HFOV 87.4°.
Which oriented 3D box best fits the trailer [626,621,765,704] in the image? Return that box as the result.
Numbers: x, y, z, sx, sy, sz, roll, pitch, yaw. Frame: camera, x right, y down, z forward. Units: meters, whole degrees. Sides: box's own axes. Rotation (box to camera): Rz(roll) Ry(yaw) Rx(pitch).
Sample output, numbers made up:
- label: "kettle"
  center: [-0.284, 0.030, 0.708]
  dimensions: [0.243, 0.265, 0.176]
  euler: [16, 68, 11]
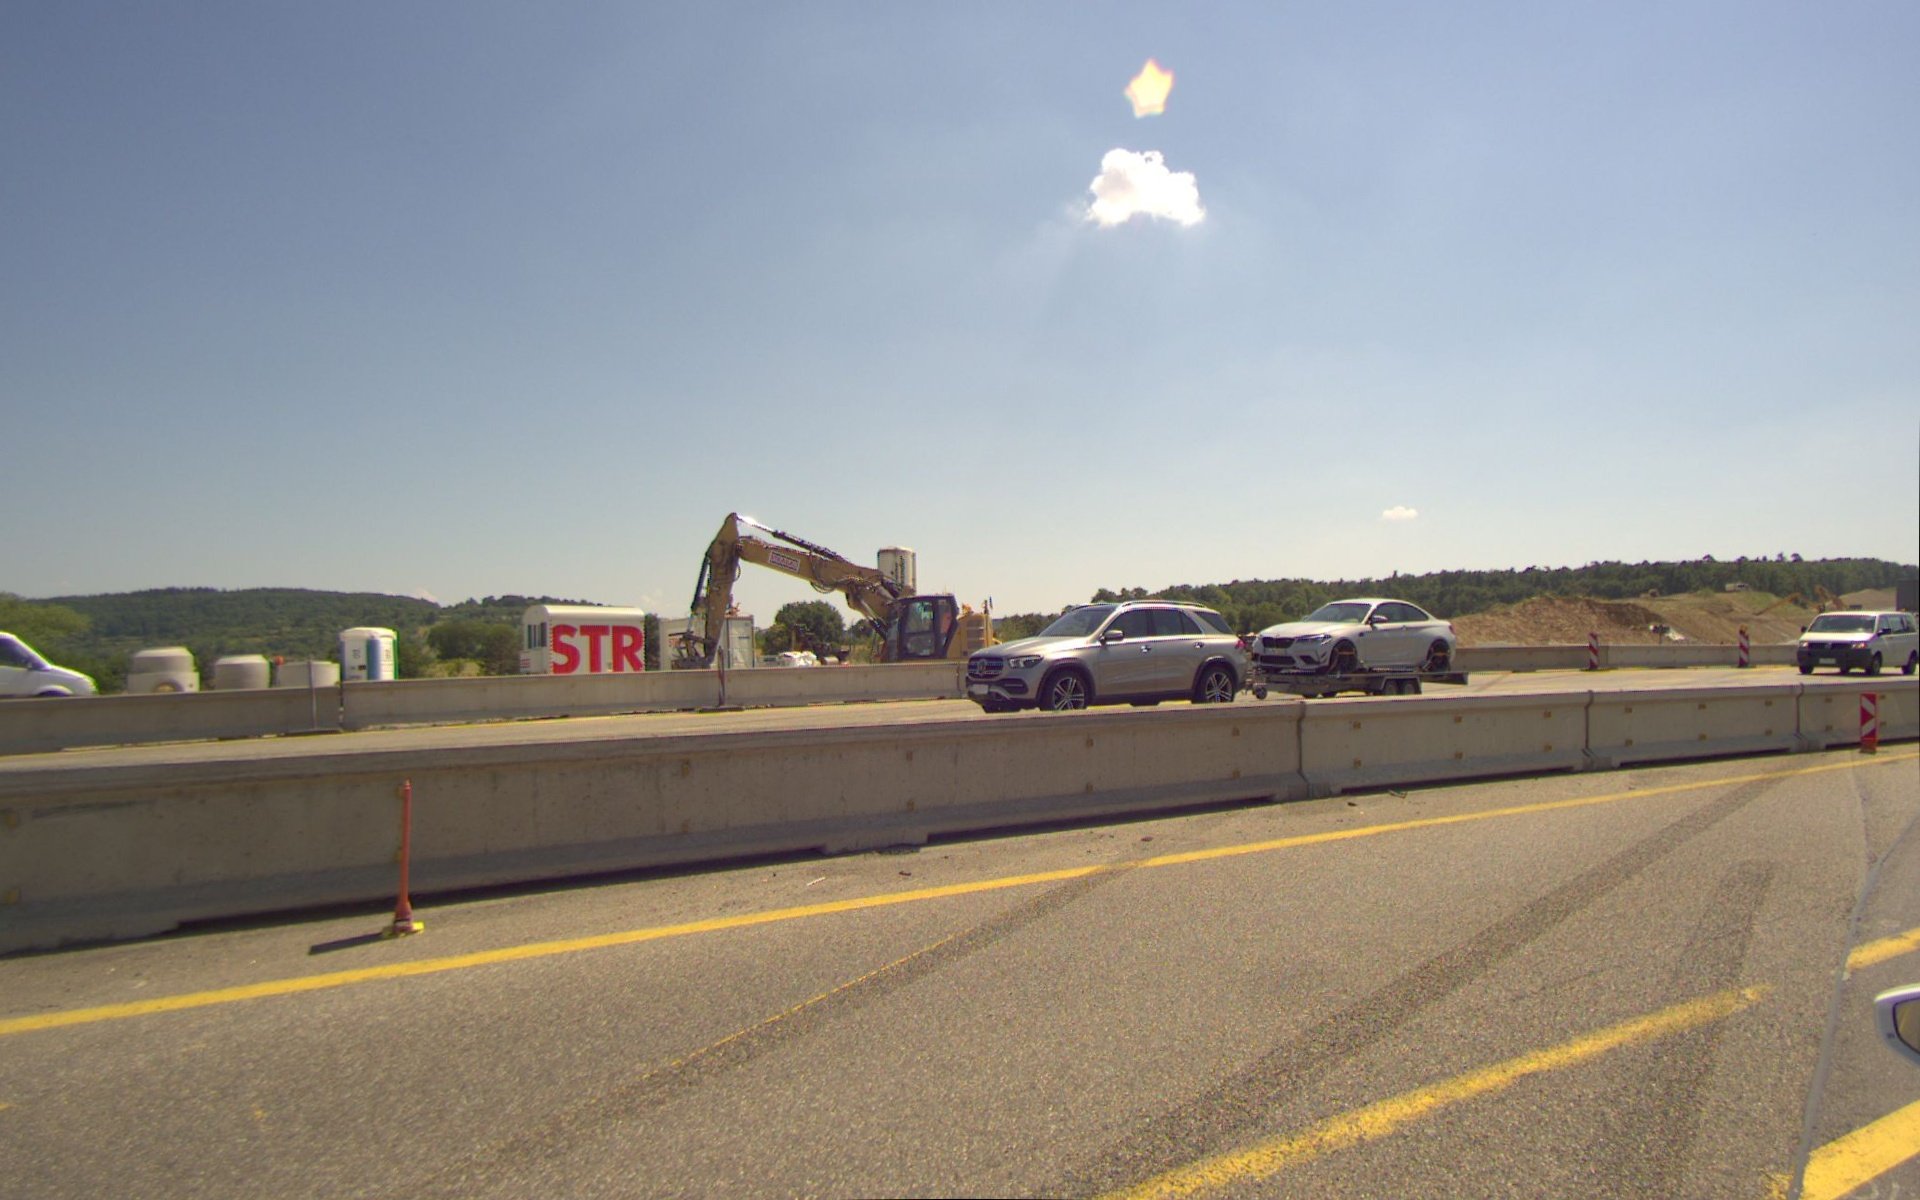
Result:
- label: "trailer"
  center: [-10.563, 2.386, 39.874]
  dimensions: [5.503, 3.036, 2.868]
  euler: [-2, -2, 43]

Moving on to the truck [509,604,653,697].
- label: "truck"
  center: [-13.385, 1.735, 35.646]
  dimensions: [2.315, 3.083, 4.242]
  euler: [-1, -2, 42]

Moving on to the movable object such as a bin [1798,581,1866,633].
- label: "movable object such as a bin"
  center: [134.581, 1.139, 155.095]
  dimensions: [3.423, 7.815, 7.562]
  euler: [1, -2, -44]

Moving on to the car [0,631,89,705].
- label: "car"
  center: [-23.749, 1.613, 23.547]
  dimensions: [1.701, 1.736, 4.859]
  euler: [-2, -2, 41]

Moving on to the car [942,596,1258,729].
- label: "car"
  center: [2.286, 0.936, 15.942]
  dimensions: [4.848, 1.830, 1.858]
  euler: [0, -3, -30]

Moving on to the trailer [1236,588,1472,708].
- label: "trailer"
  center: [7.504, 0.862, 19.049]
  dimensions: [4.383, 2.049, 1.857]
  euler: [1, -2, -30]

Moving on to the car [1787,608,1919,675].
- label: "car"
  center: [28.406, 1.265, 31.786]
  dimensions: [4.834, 1.979, 1.857]
  euler: [1, -2, -30]

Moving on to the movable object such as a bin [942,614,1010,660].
- label: "movable object such as a bin"
  center: [1.141, 2.619, 71.491]
  dimensions: [4.421, 3.182, 1.990]
  euler: [0, -1, -23]

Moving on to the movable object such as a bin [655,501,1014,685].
- label: "movable object such as a bin"
  center: [-3.294, -0.104, 27.084]
  dimensions: [9.196, 4.387, 2.917]
  euler: [0, -1, -24]
